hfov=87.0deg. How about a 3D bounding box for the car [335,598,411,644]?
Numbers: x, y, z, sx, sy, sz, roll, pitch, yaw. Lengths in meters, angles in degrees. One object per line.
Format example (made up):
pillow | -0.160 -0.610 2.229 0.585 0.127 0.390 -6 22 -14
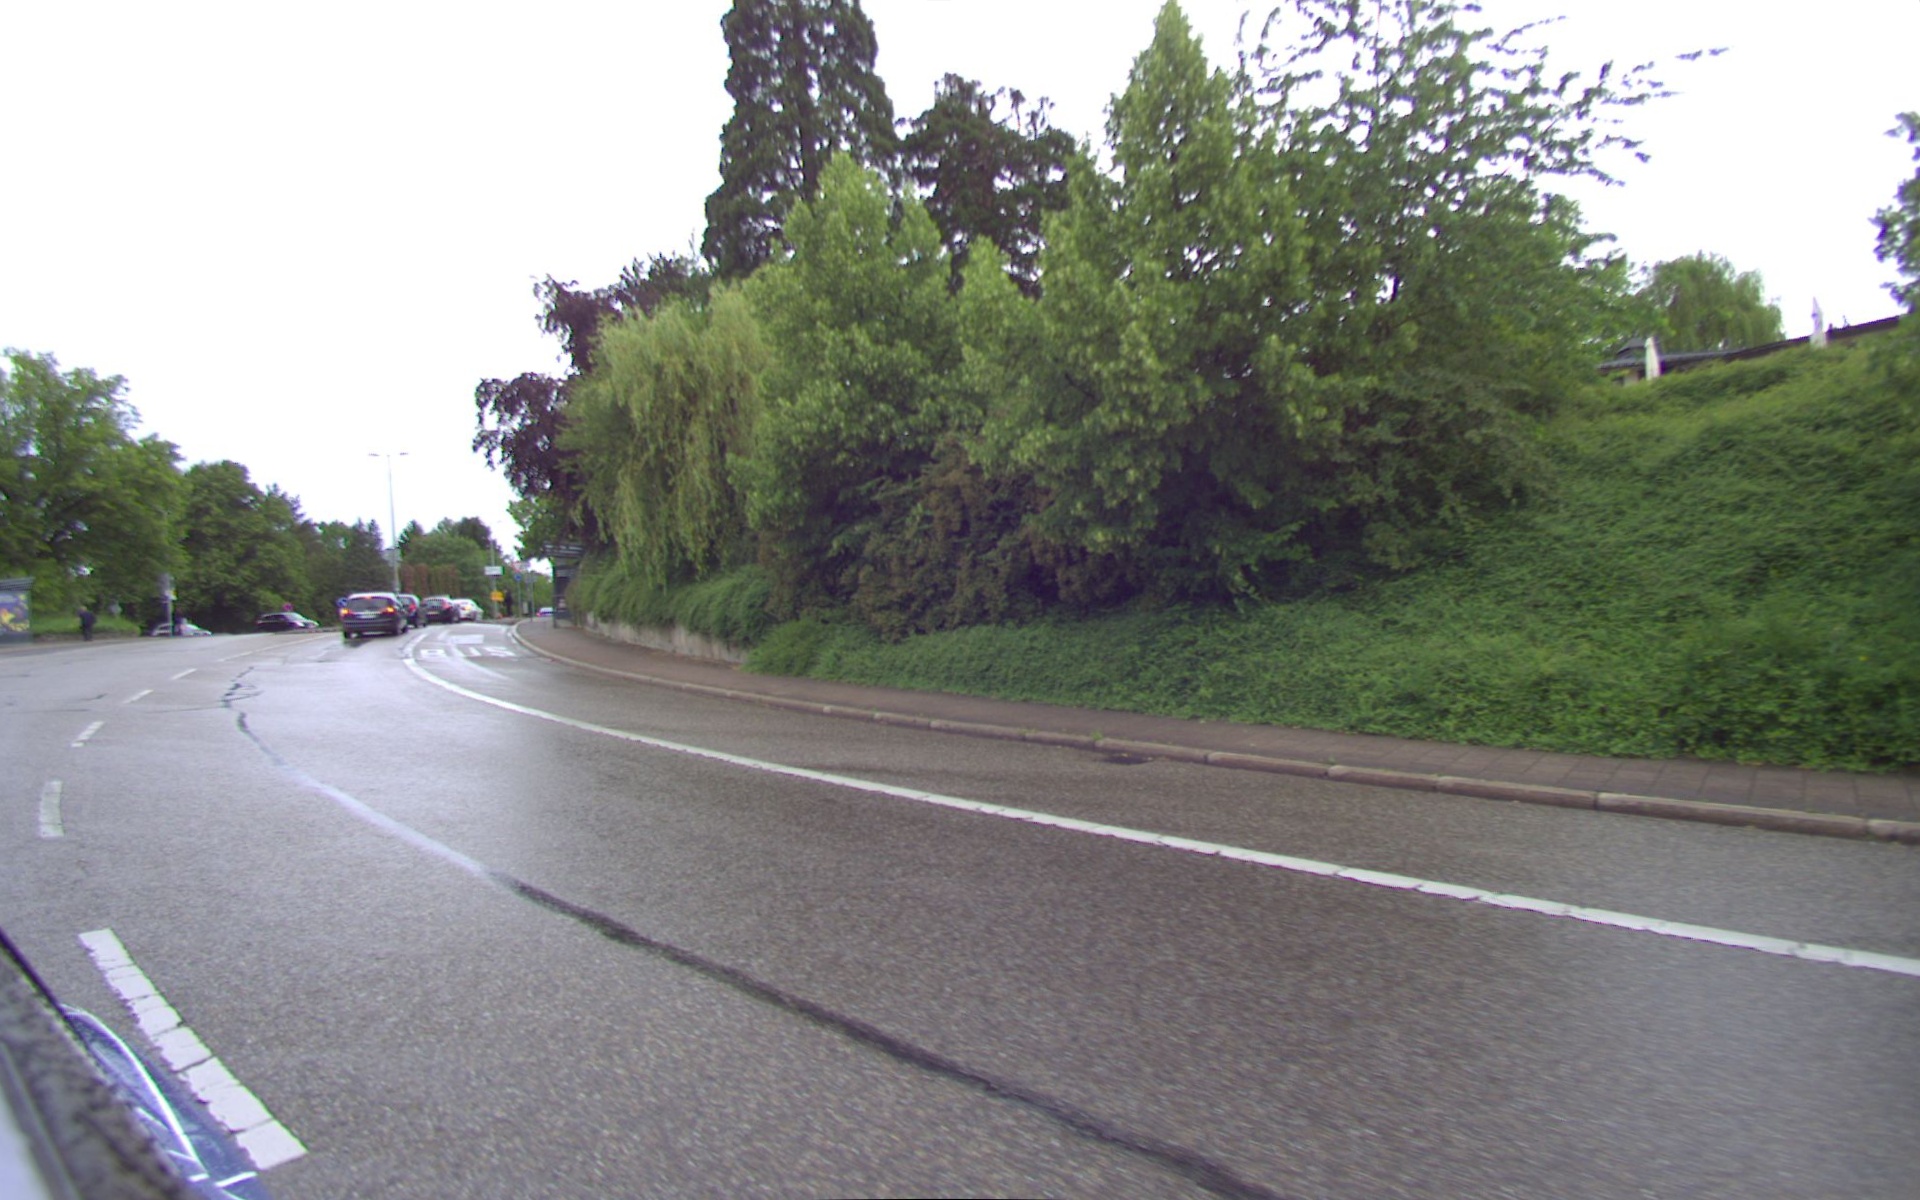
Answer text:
car | -22.514 0.743 38.970 1.785 1.588 4.701 -2 1 -21

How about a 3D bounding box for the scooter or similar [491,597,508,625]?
scooter or similar | -25.866 0.616 56.889 0.502 1.527 1.321 -2 0 -10

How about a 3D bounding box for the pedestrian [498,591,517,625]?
pedestrian | -25.470 0.453 56.968 0.693 1.821 0.827 -2 -1 -9

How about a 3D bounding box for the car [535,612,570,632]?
car | -33.097 1.779 82.344 1.734 1.448 4.681 -4 -1 -11

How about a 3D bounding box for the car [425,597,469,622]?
car | -32.028 0.575 63.311 1.803 1.412 4.836 -2 0 -19

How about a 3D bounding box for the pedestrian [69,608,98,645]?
pedestrian | -41.645 1.266 48.109 0.913 1.667 1.100 -2 -1 -37

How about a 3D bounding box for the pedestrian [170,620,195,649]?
pedestrian | -44.836 1.985 58.368 0.718 1.667 0.816 -3 -1 12

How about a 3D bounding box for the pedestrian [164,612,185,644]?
pedestrian | -44.361 1.586 57.151 0.713 1.746 0.822 -2 -1 -26

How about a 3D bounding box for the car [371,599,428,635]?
car | -25.667 0.782 46.455 1.697 1.475 4.391 -2 0 -21

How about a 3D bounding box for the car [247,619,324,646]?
car | -43.821 2.084 65.758 4.351 1.425 1.852 -4 -1 19
